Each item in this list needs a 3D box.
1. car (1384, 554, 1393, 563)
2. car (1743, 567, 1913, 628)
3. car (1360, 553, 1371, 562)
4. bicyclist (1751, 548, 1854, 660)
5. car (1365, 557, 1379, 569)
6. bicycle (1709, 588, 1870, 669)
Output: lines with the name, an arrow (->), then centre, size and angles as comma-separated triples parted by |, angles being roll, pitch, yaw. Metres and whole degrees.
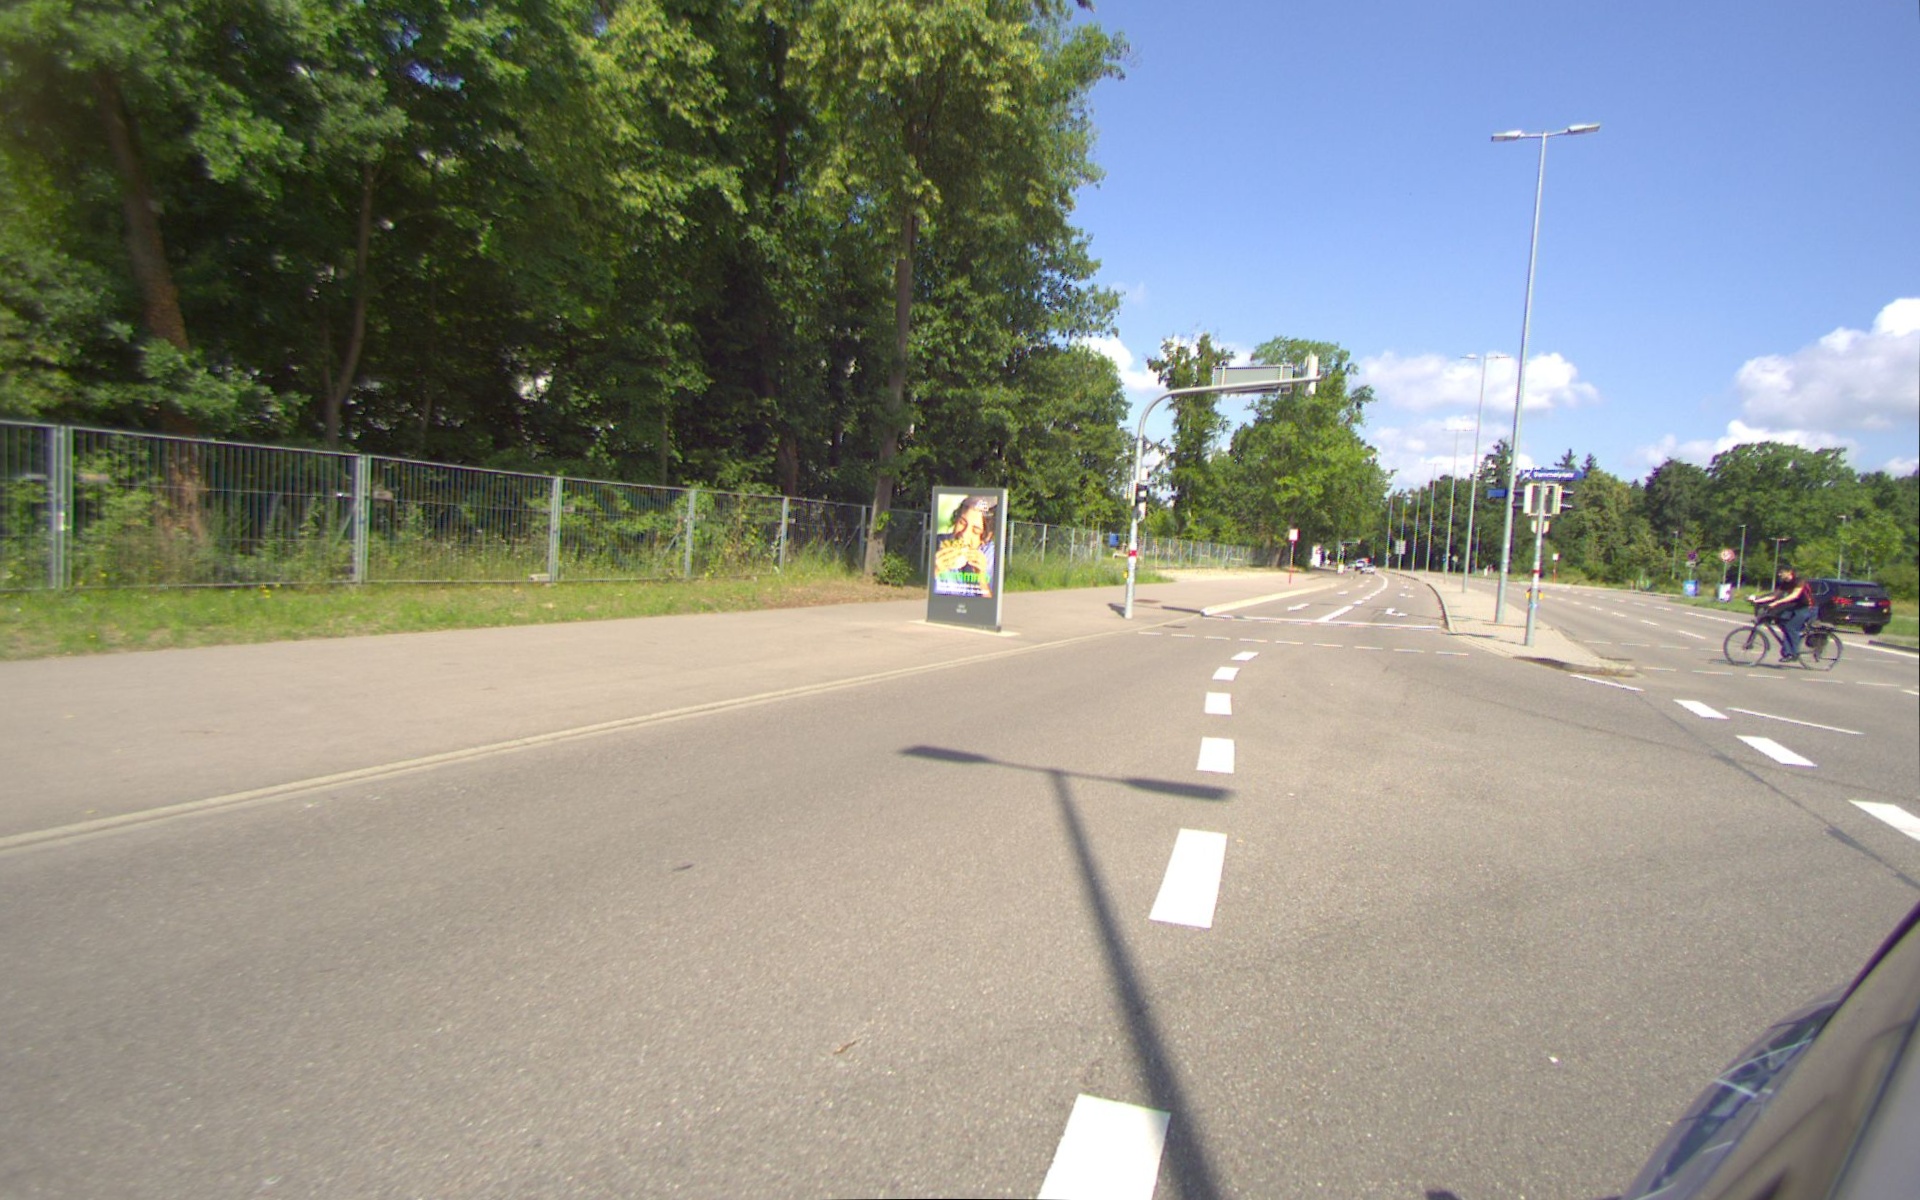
car -> 80.217, -7.806, 189.391 | 1.564, 1.497, 3.543 | 3, 4, 24
car -> 29.201, -0.145, 34.279 | 1.947, 1.786, 4.702 | 3, 3, 6
car -> 70.443, -7.406, 175.891 | 1.564, 1.497, 3.543 | 3, 4, 24
bicyclist -> 14.404, 0.035, 17.337 | 0.964, 1.819, 0.884 | 3, 3, 14
car -> 56.523, -5.097, 138.886 | 1.562, 1.497, 3.547 | 3, 4, 21
bicycle -> 14.217, 0.458, 17.412 | 1.870, 1.220, 0.880 | 3, 3, 15
